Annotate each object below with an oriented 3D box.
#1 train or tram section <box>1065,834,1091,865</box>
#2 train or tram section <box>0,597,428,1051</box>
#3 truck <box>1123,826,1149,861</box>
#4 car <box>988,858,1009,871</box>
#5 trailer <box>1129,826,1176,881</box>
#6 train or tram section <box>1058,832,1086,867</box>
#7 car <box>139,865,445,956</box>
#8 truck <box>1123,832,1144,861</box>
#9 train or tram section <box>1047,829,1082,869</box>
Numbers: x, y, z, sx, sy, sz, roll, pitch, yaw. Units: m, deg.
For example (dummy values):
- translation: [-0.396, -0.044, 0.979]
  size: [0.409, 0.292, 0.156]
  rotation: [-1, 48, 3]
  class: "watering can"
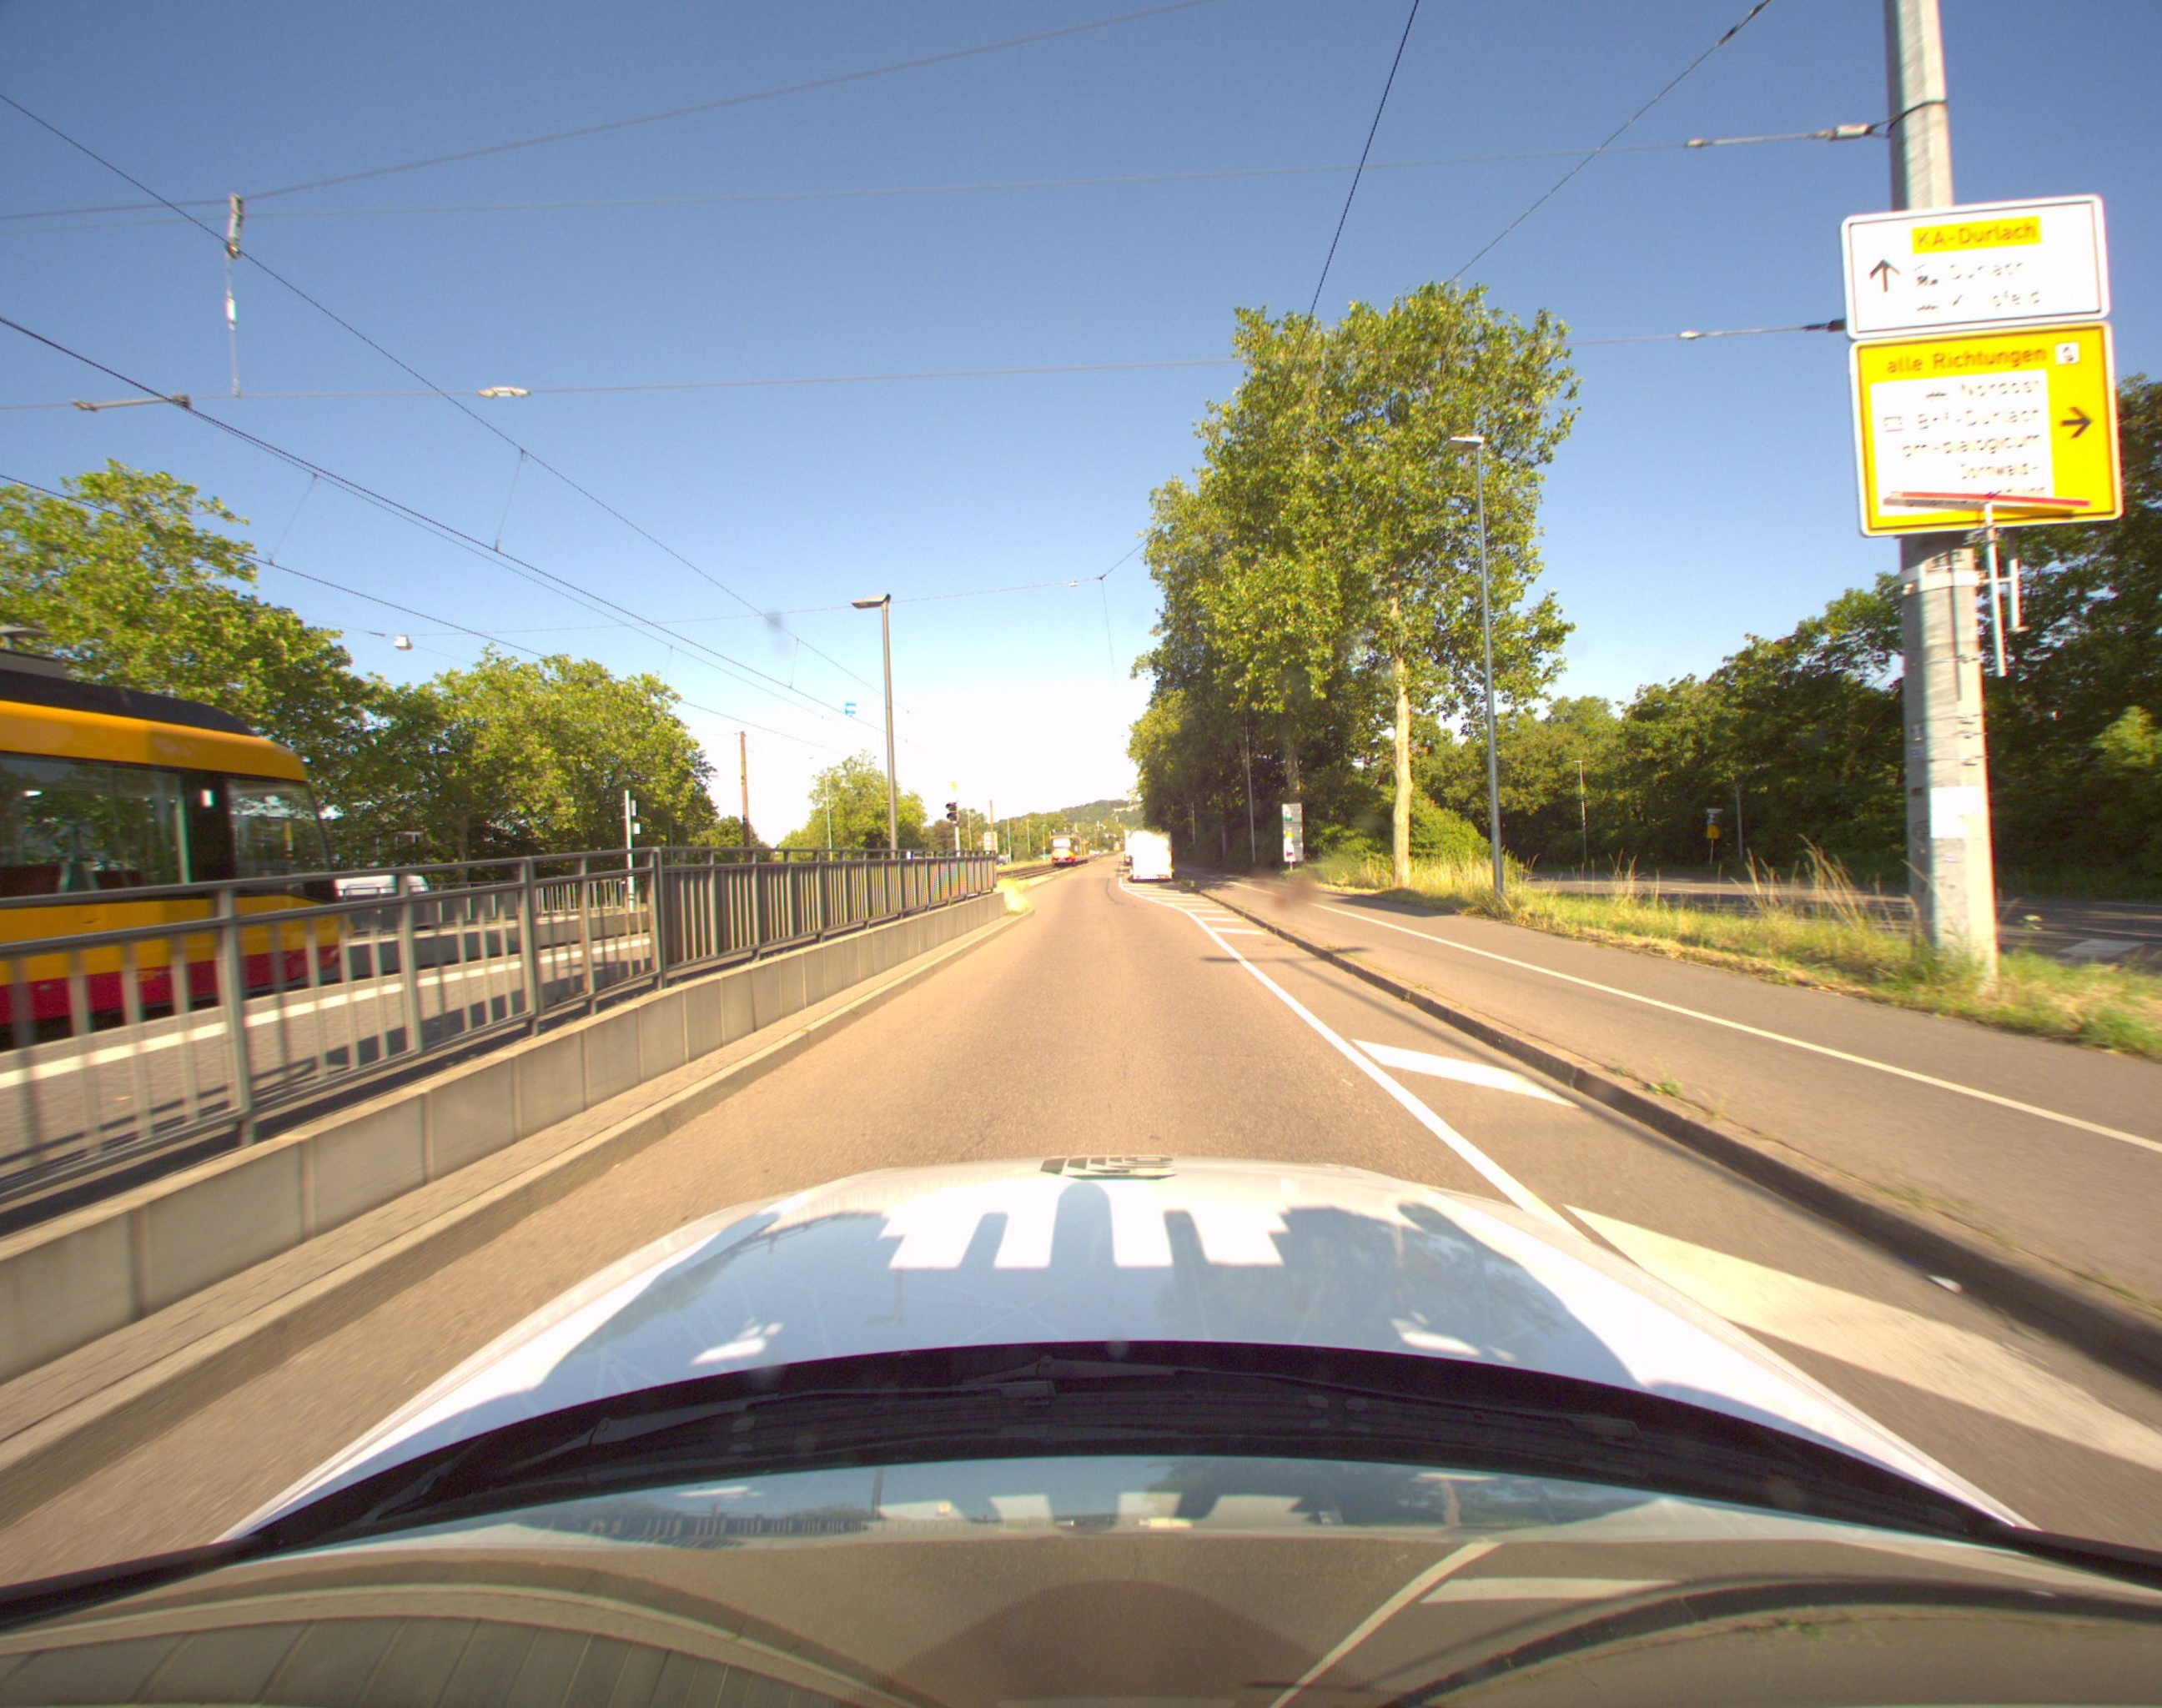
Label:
- translation: [-0.335, -0.600, 116.158]
  size: [2.708, 4.088, 12.824]
  rotation: [-3, 0, 3]
  class: "train or tram section"
- translation: [-10.356, -0.219, 4.145]
  size: [2.815, 3.687, 12.983]
  rotation: [-1, 0, 4]
  class: "train or tram section"
- translation: [6.157, -1.142, 92.002]
  size: [2.731, 3.783, 10.096]
  rotation: [-1, 0, 3]
  class: "truck"
- translation: [-10.146, 1.309, 100.545]
  size: [1.765, 1.425, 4.494]
  rotation: [-3, 0, 4]
  class: "car"
- translation: [3.915, -0.054, 43.920]
  size: [2.240, 2.694, 5.957]
  rotation: [-2, 0, 6]
  class: "trailer"
- translation: [-1.048, -0.561, 104.790]
  size: [2.683, 4.088, 9.919]
  rotation: [-3, 0, 3]
  class: "train or tram section"
- translation: [-16.085, 1.061, 17.020]
  size: [1.985, 1.561, 4.339]
  rotation: [-2, 0, 3]
  class: "car"
- translation: [7.086, -0.975, 111.207]
  size: [2.706, 3.783, 9.768]
  rotation: [-1, 0, 3]
  class: "truck"
- translation: [-1.749, -0.542, 93.063]
  size: [2.710, 4.091, 13.628]
  rotation: [-3, 0, 3]
  class: "train or tram section"
